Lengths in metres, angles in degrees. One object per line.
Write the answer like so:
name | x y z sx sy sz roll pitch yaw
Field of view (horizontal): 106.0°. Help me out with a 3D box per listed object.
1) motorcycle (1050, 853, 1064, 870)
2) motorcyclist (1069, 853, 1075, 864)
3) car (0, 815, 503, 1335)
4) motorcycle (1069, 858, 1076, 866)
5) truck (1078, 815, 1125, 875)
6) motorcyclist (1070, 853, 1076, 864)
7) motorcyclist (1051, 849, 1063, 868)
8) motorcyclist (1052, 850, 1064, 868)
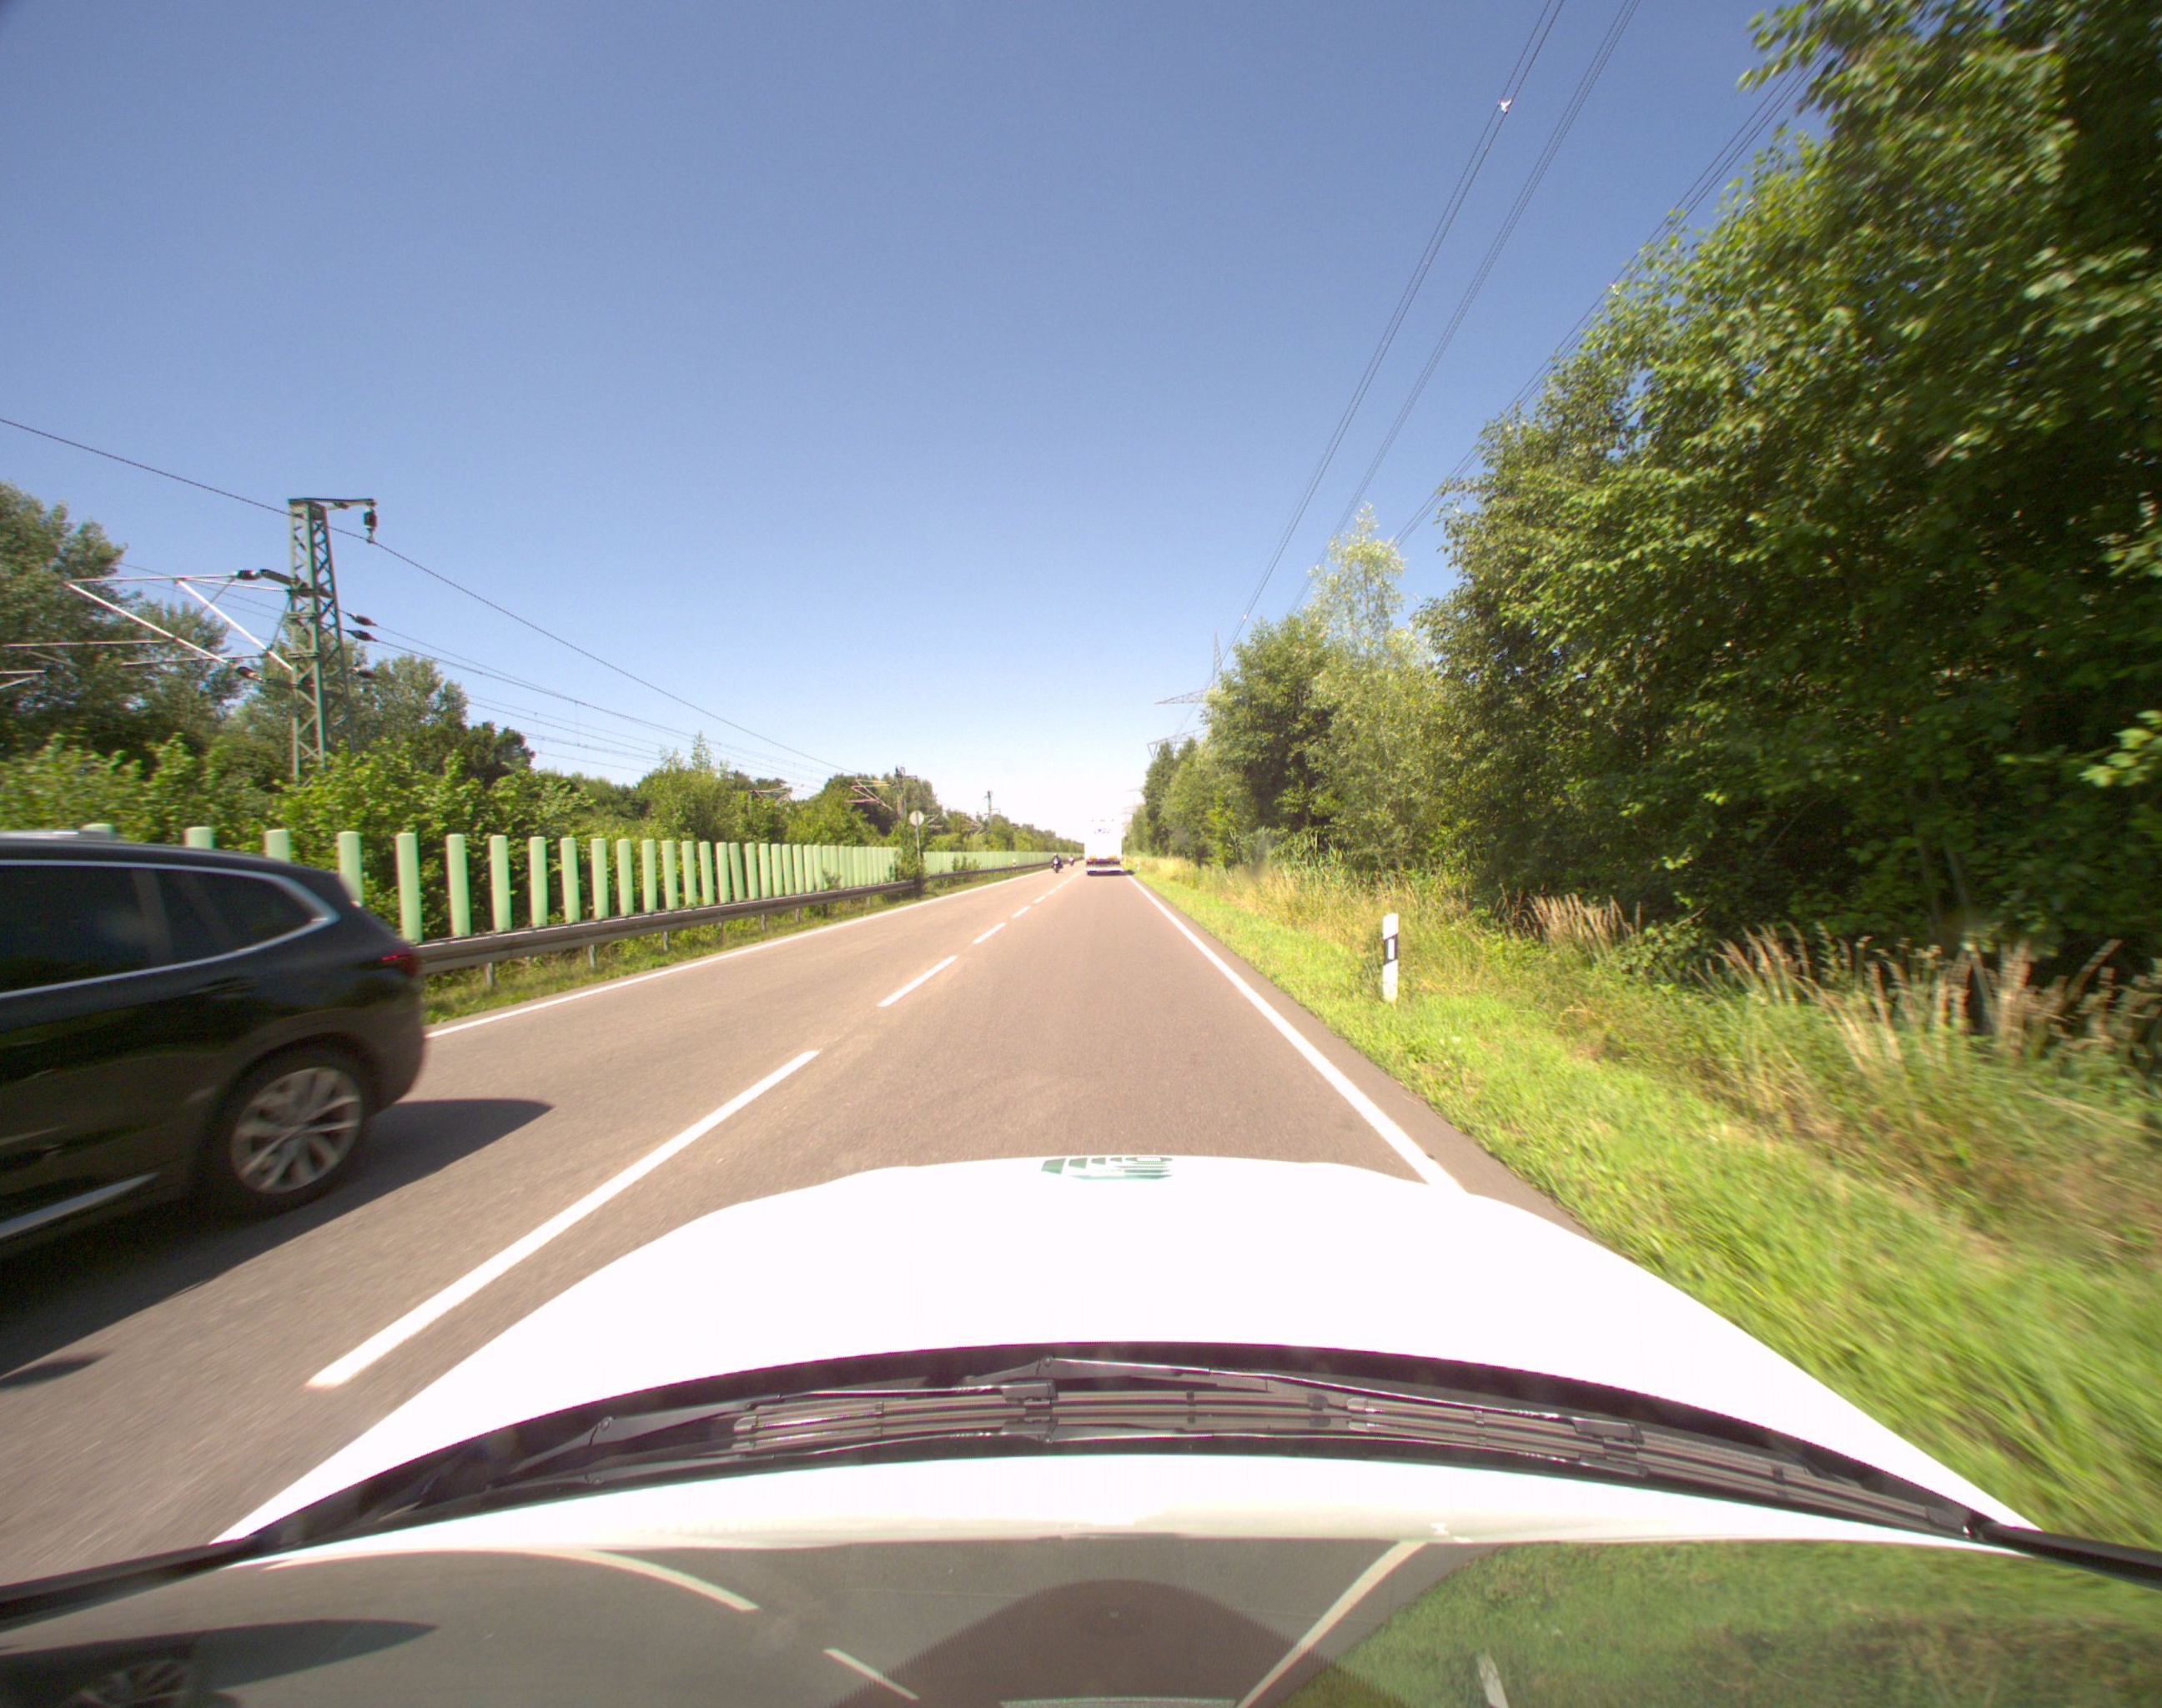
motorcycle | -2.077 0.662 71.736 0.964 1.496 2.632 0 0 3
motorcyclist | -1.208 0.612 111.481 0.755 1.583 1.004 0 -1 3
car | -4.451 0.745 2.517 1.807 1.694 4.708 -2 0 2
motorcycle | -1.204 1.114 111.505 0.751 1.014 2.723 0 0 3
truck | 1.582 -0.636 62.908 3.180 4.042 12.009 -2 0 1
motorcyclist | -1.157 0.626 112.437 0.746 1.583 0.864 0 -1 3
motorcyclist | -2.103 0.417 71.369 0.955 1.609 1.004 0 -1 3
motorcyclist | -2.045 0.430 72.380 0.955 1.609 1.004 0 -1 3
